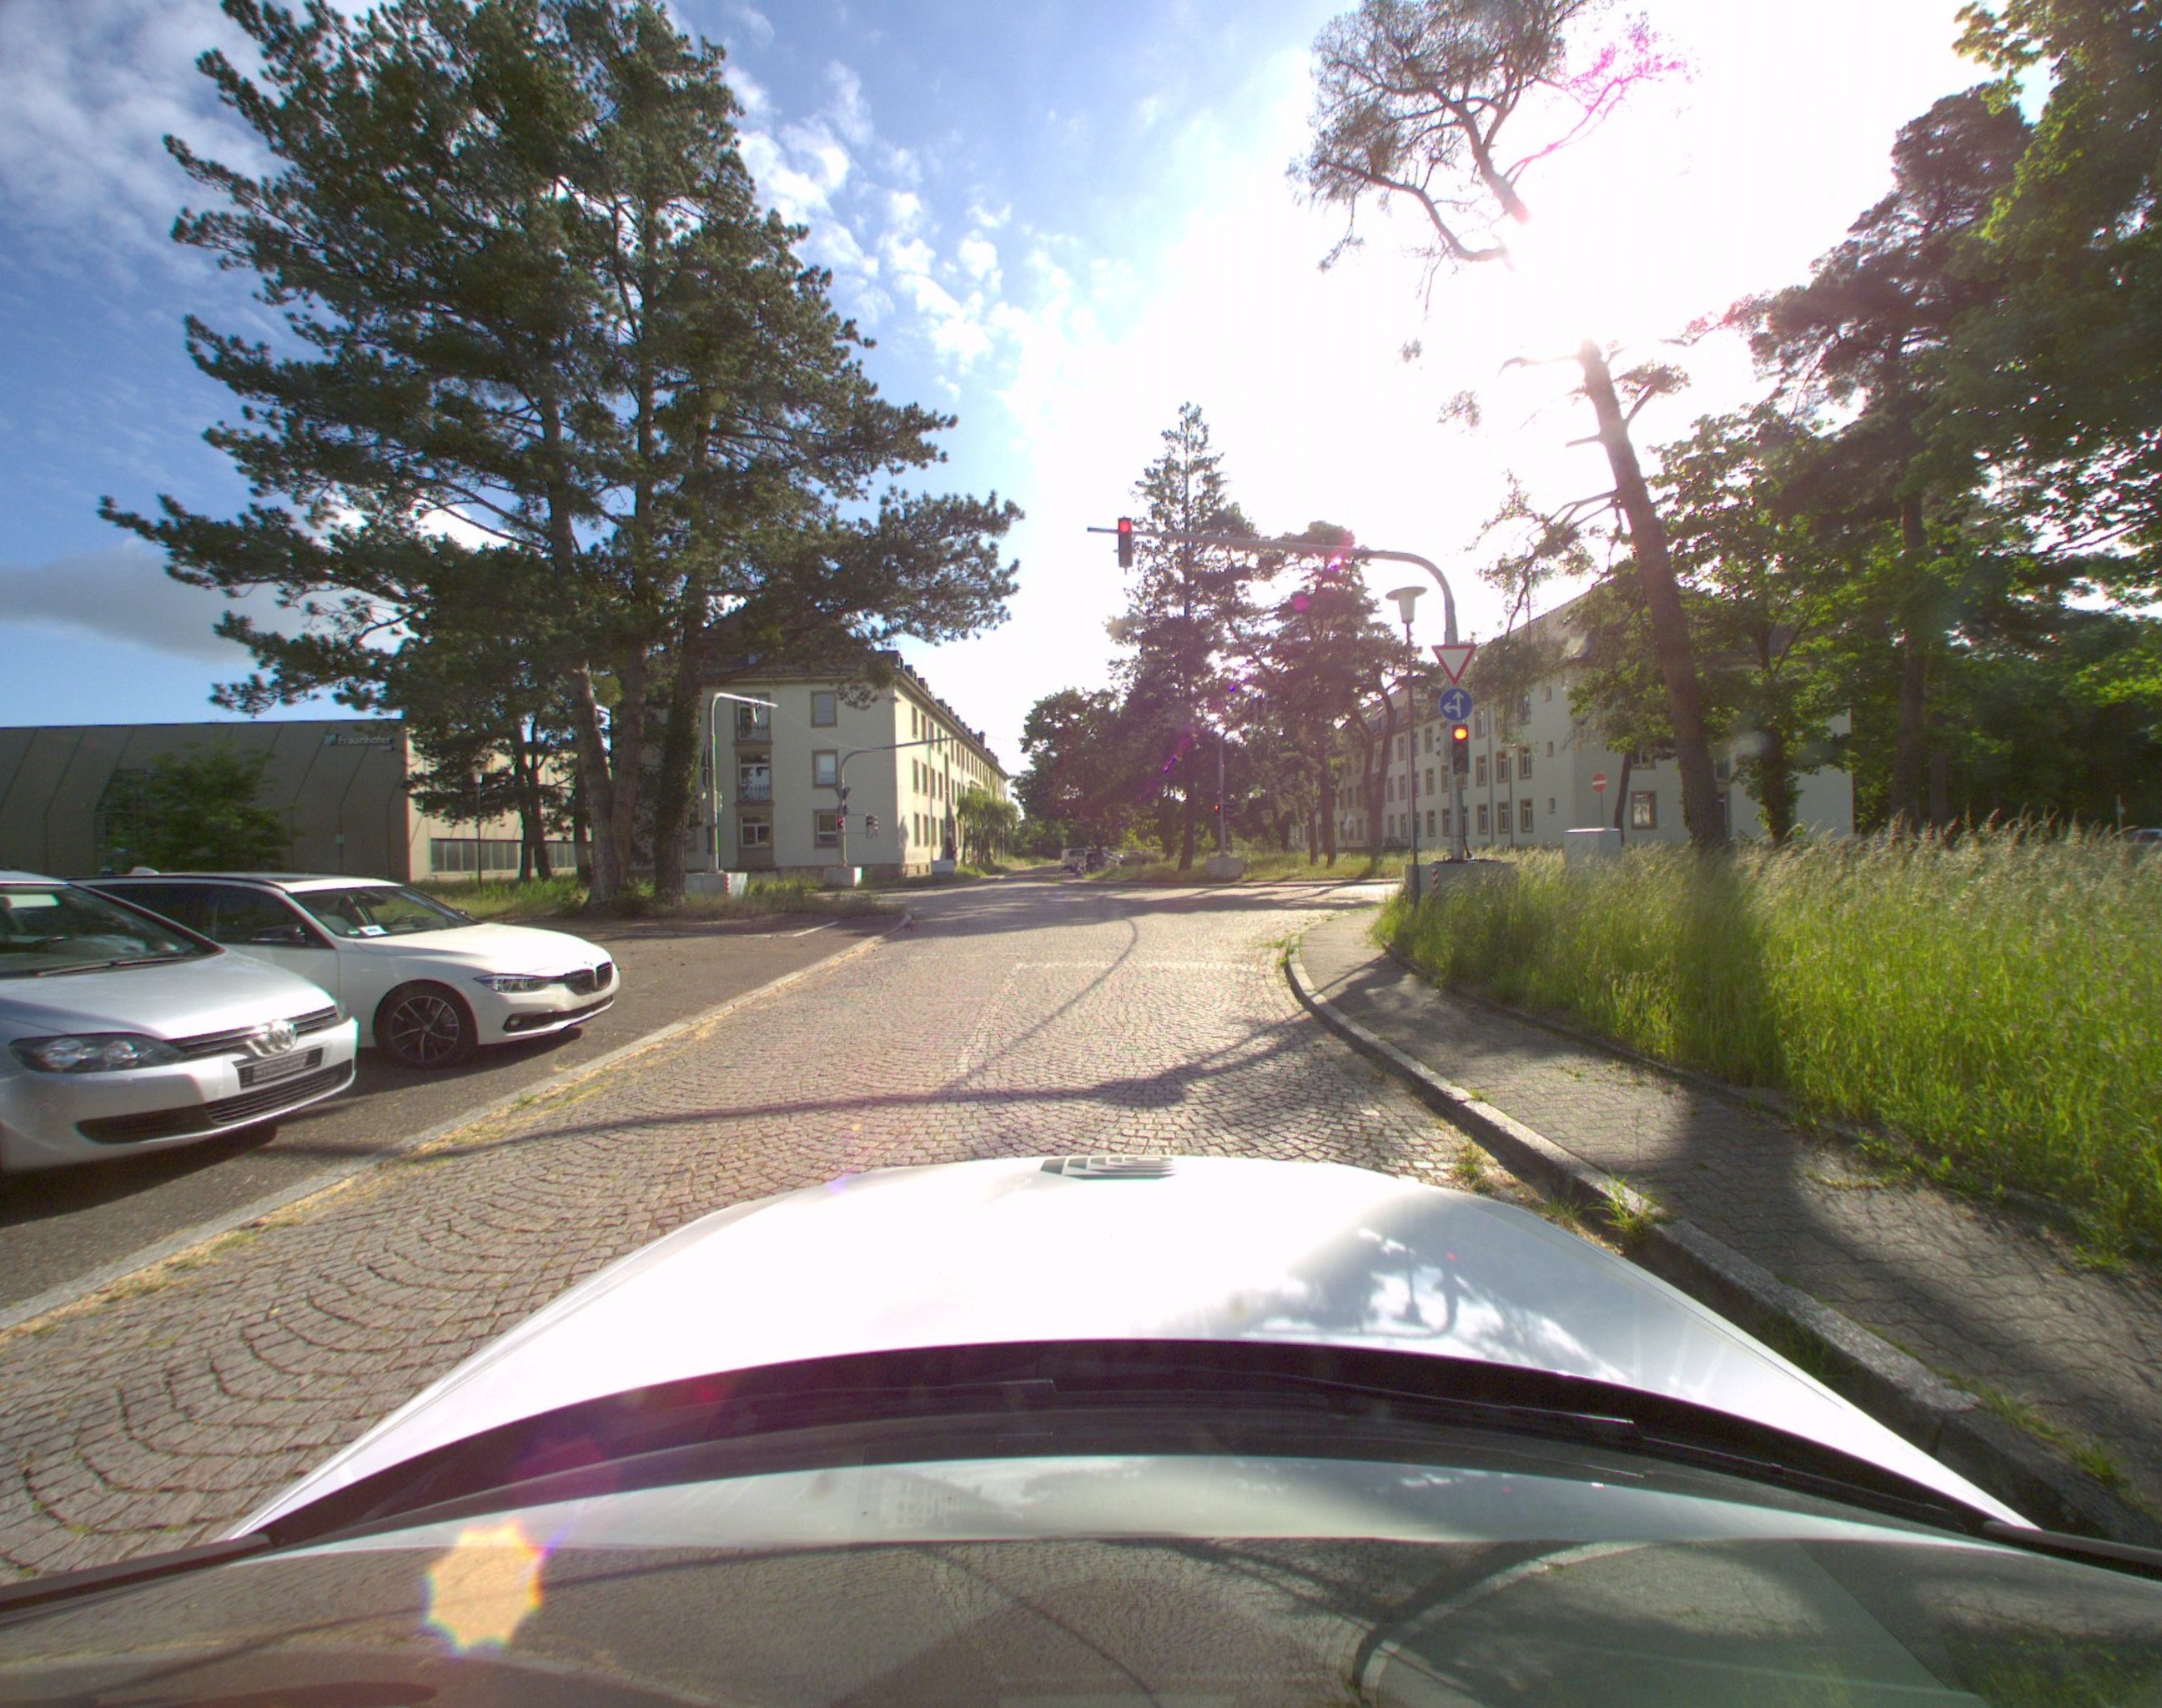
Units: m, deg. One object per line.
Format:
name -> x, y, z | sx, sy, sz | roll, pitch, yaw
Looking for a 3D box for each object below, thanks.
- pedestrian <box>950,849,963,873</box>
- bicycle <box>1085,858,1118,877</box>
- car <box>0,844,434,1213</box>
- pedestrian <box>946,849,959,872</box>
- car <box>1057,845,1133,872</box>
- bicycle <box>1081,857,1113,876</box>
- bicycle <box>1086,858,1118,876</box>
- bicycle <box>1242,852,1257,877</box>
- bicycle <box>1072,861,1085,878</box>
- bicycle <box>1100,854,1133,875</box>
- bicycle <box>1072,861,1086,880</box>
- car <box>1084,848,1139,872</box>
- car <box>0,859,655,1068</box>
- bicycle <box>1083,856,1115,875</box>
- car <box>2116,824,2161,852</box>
pedestrian -> -9.721, 0.550, 63.581 | 0.806, 1.817, 0.557 | -2, 0, 11
bicycle -> 1.263, 0.805, 49.550 | 1.936, 1.129, 0.749 | -1, 0, -3
car -> -6.228, 0.765, 4.394 | 3.936, 1.626, 1.719 | 1, 0, -5
pedestrian -> -10.160, 0.488, 64.452 | 0.762, 1.817, 0.684 | -2, 0, 11
car -> 1.138, 0.380, 66.774 | 5.925, 2.013, 2.469 | -1, 0, -7
bicycle -> 0.995, 0.765, 50.767 | 1.951, 1.129, 0.642 | -1, 0, -27
bicycle -> 1.240, 0.763, 48.752 | 1.850, 1.031, 0.749 | -1, 0, -3
bicycle -> 7.568, 0.456, 36.653 | 0.464, 1.080, 1.175 | -2, -1, 4
bicycle -> -0.154, 0.894, 47.199 | 0.693, 0.971, 1.859 | -1, 0, -2
bicycle -> 2.190, 0.670, 50.258 | 1.936, 1.235, 0.485 | -1, 0, -3
bicycle -> -0.106, 0.897, 45.262 | 0.693, 0.971, 1.859 | -1, 0, -2
car -> 2.304, 0.472, 62.530 | 3.984, 1.684, 1.842 | -1, 0, -8
car -> -6.374, 0.831, 6.895 | 4.530, 1.467, 1.751 | 1, 0, -3
bicycle -> 1.163, 0.717, 51.857 | 1.938, 1.129, 0.646 | -1, 0, -6
car -> 57.409, -0.878, 42.774 | 3.978, 1.464, 1.845 | -2, 0, -3
